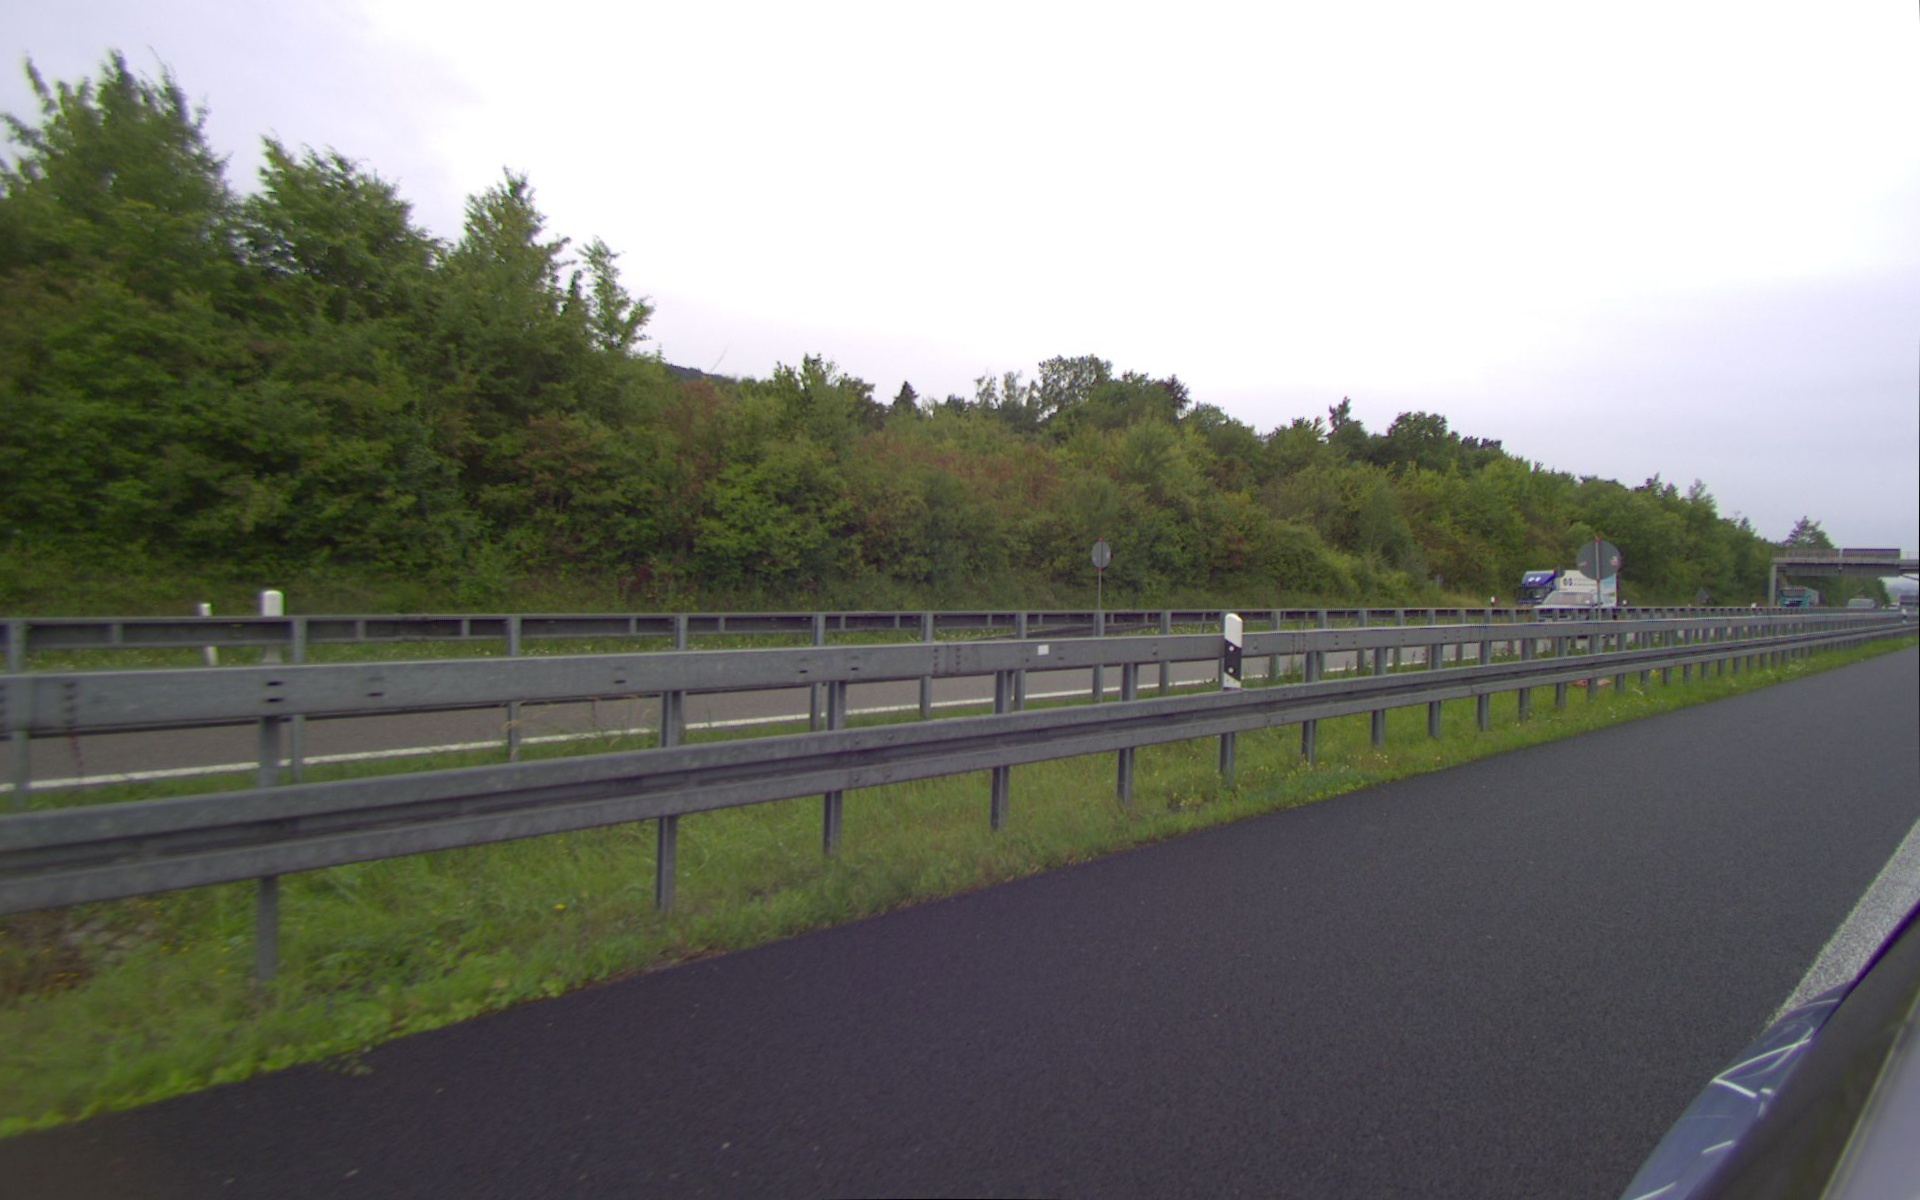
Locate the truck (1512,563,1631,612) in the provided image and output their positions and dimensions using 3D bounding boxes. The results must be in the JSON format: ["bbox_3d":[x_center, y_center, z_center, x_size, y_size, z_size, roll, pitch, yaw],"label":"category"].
[{"bbox_3d":[44.806,-0.893,74.087,9.091,3.460,2.916,0,1,-26],"label":"truck"}]

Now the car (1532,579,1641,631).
[{"bbox_3d":[21.695,0.153,34.986,4.395,1.676,2.011,0,1,-42],"label":"car"}]

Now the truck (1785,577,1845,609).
[{"bbox_3d":[97.419,-0.836,115.204,13.114,3.460,2.908,0,1,-39],"label":"truck"}]
